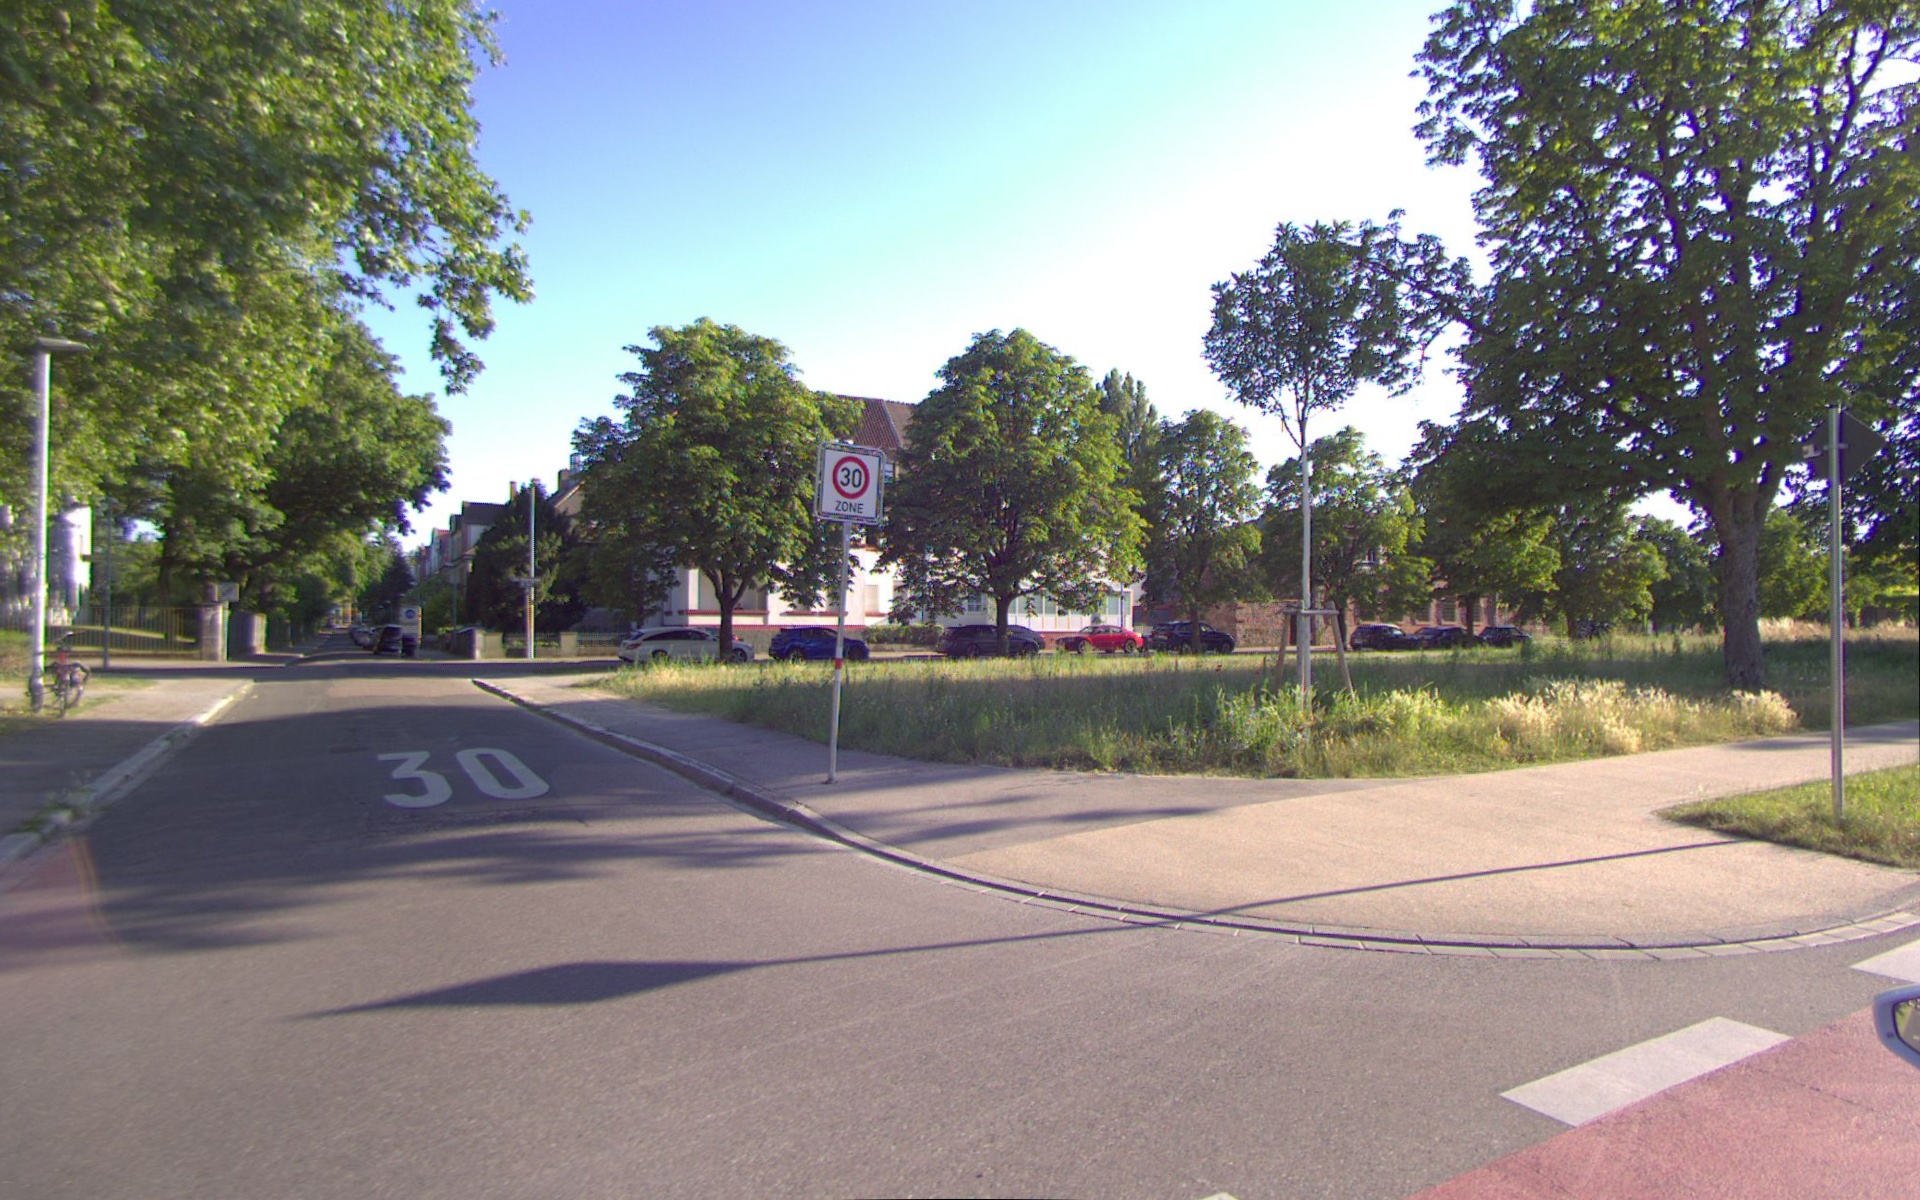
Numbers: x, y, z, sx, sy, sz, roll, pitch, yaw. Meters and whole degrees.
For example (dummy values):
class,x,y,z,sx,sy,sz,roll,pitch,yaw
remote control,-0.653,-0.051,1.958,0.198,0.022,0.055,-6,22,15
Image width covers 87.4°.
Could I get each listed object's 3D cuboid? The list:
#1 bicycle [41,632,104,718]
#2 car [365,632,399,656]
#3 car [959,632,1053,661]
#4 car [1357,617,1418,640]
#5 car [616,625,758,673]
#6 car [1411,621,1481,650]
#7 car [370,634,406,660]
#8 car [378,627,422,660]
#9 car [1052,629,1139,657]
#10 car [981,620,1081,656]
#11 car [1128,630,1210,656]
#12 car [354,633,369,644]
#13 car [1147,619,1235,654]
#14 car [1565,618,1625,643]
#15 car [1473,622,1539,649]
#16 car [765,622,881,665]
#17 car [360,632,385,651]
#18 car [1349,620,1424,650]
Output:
class,x,y,z,sx,sy,sz,roll,pitch,yaw
bicycle,-13.240,1.096,14.967,1.564,1.202,0.418,0,-2,39
car,-39.985,3.000,69.579,1.810,1.576,3.972,1,-2,-27
car,2.278,2.266,49.246,4.425,1.350,1.564,1,0,-29
car,27.507,1.813,64.581,3.953,1.424,1.621,1,-1,-30
car,-9.910,1.752,36.623,4.705,1.619,1.683,1,-1,-33
car,28.331,2.064,58.555,4.172,1.619,1.684,1,-1,-31
car,-36.765,2.973,64.606,1.810,1.576,3.972,1,-2,-27
car,-28.380,2.162,50.972,1.810,1.576,3.972,1,-2,-27
car,7.031,2.200,51.990,4.423,1.350,1.564,1,0,-29
car,3.106,1.646,43.773,4.173,1.496,1.684,1,-1,-32
car,11.347,2.322,54.436,4.423,1.350,1.564,1,0,-29
car,-88.388,5.675,148.389,1.812,1.576,3.967,1,-2,-31
car,11.164,1.747,48.448,4.172,1.619,1.684,1,-1,-31
car,42.291,2.000,66.839,4.172,1.619,1.684,1,-1,-31
car,33.669,2.174,61.912,4.172,1.619,1.684,1,-1,-31
car,-5.328,1.669,39.288,4.175,1.619,1.683,1,-1,-33
car,-51.705,3.642,88.364,1.812,1.576,3.967,1,-2,-31
car,23.597,1.906,55.583,4.172,1.619,1.684,1,-1,-31
